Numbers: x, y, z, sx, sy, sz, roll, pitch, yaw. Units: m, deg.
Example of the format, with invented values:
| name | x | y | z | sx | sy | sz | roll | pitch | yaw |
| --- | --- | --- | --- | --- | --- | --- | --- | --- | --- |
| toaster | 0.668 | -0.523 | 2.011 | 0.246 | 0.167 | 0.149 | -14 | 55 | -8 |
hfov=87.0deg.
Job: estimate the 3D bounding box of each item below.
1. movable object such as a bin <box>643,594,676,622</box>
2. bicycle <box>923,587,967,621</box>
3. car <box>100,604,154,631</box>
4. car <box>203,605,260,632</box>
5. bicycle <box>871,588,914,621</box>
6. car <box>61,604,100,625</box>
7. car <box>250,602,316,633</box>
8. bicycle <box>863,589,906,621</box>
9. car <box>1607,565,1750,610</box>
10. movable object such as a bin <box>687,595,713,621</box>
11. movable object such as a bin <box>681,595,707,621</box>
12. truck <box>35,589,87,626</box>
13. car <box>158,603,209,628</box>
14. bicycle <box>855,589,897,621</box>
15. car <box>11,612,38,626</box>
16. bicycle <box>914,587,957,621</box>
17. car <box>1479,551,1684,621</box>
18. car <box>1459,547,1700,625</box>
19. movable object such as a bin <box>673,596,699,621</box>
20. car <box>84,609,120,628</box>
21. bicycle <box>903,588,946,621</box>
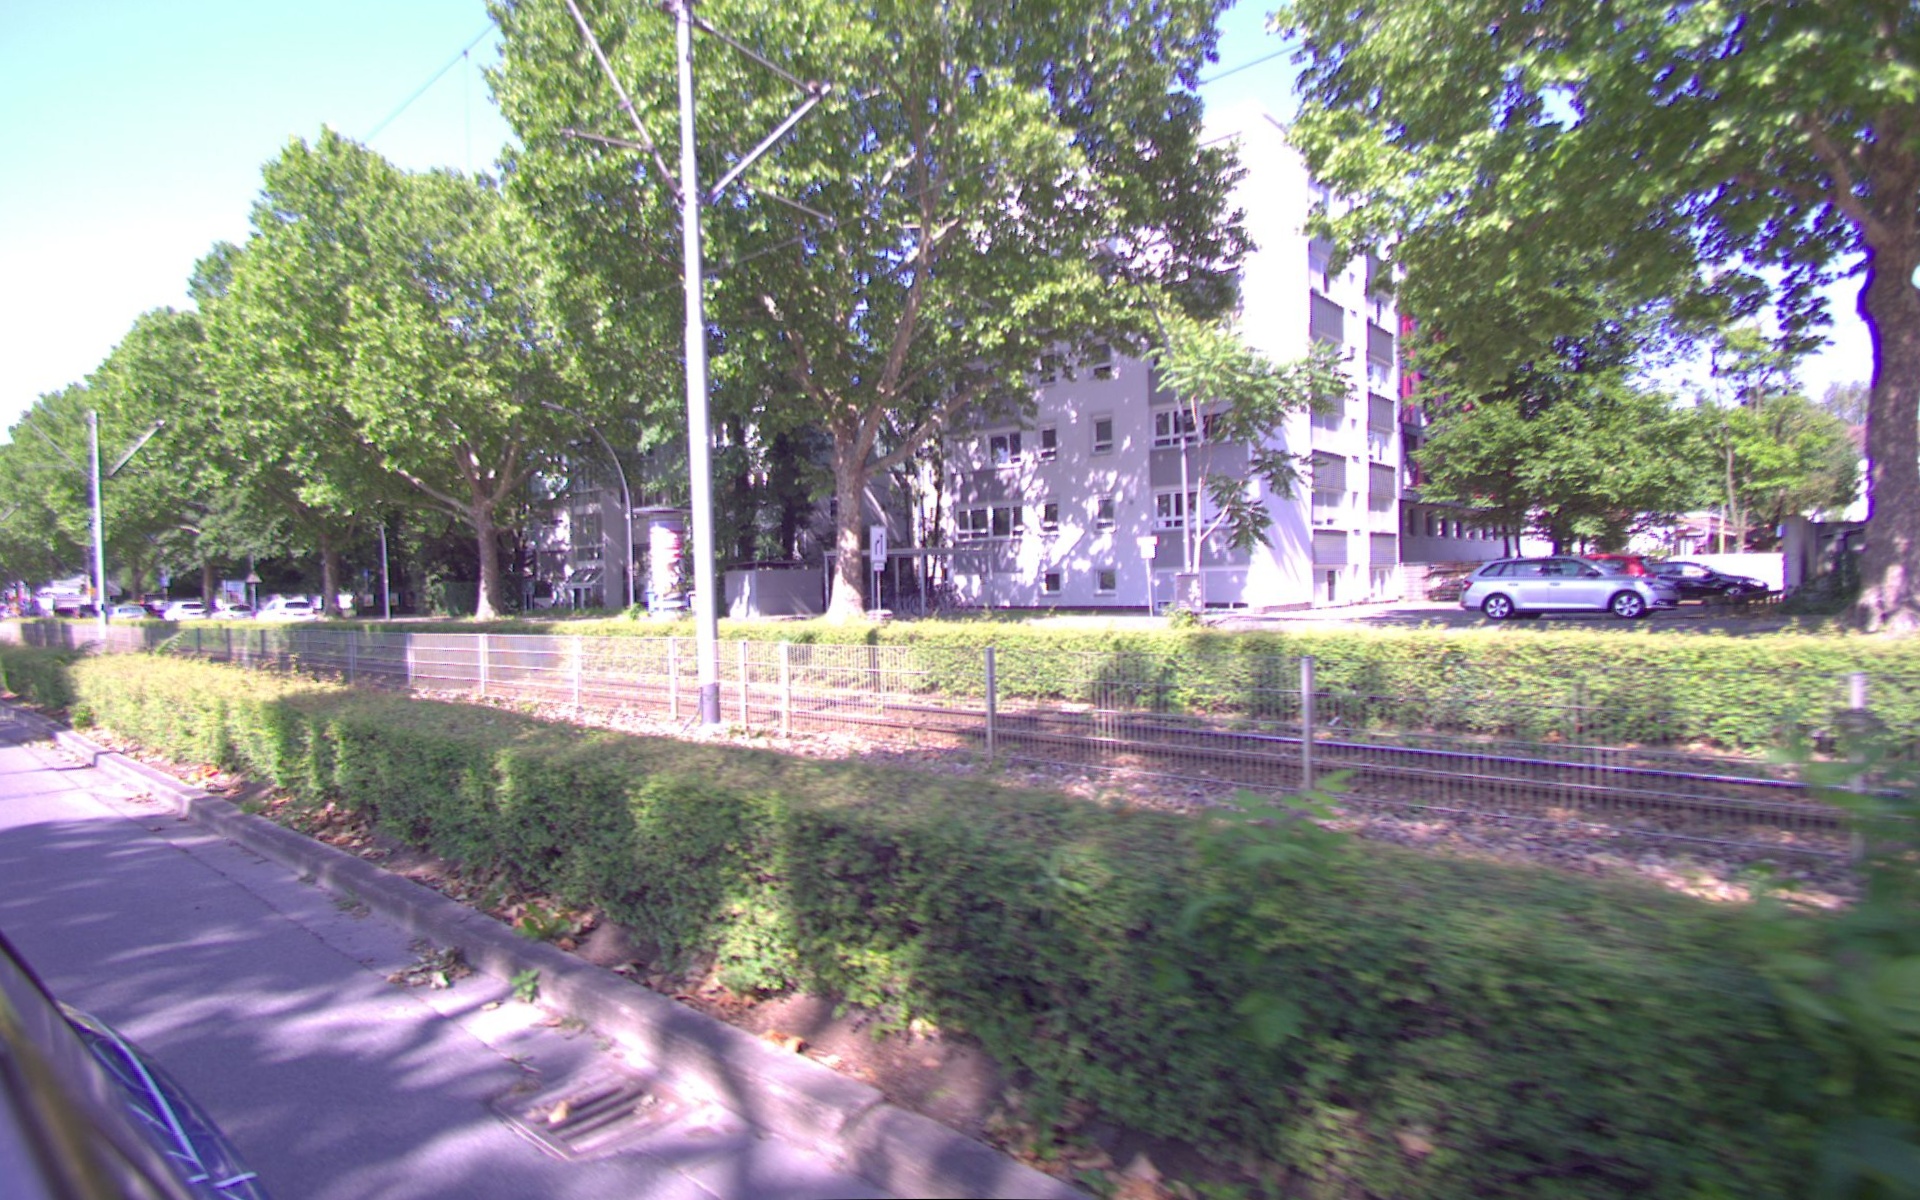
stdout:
| name | x | y | z | sx | sy | sz | roll | pitch | yaw |
| --- | --- | --- | --- | --- | --- | --- | --- | --- | --- |
| movable object such as a bin | -13.088 | 0.344 | 44.046 | 1.098 | 1.197 | 0.887 | -1 | 1 | 41 |
| bicycle | -0.509 | 0.135 | 35.091 | 0.421 | 1.111 | 1.748 | -1 | 1 | 40 |
| car | -49.863 | 1.059 | 60.545 | 3.998 | 1.464 | 1.837 | -1 | 1 | 41 |
| car | -42.762 | 1.084 | 59.373 | 3.998 | 1.464 | 1.833 | -1 | 1 | 41 |
| bicycle | -2.418 | 0.168 | 36.558 | 0.421 | 1.111 | 1.748 | -1 | 1 | 40 |
| car | -68.161 | 1.146 | 78.415 | 3.890 | 1.424 | 1.680 | -1 | 3 | 41 |
| car | -33.952 | 0.865 | 50.711 | 3.910 | 1.502 | 1.796 | -1 | -1 | 41 |
| bicycle | -2.744 | 0.173 | 36.851 | 0.421 | 1.111 | 1.748 | -1 | 1 | 40 |
| car | 23.877 | -0.408 | 33.690 | 3.751 | 1.364 | 1.627 | -1 | 1 | 41 |
| movable object such as a bin | -10.762 | 0.343 | 41.921 | 0.545 | 1.044 | 0.887 | -1 | 1 | 40 |
| movable object such as a bin | -11.136 | 0.348 | 42.338 | 0.545 | 1.044 | 0.887 | -1 | 1 | 40 |
| truck | -84.650 | 0.749 | 95.258 | 6.537 | 3.303 | 2.717 | -1 | 1 | 41 |
| car | -50.683 | 1.011 | 66.057 | 3.998 | 1.464 | 1.837 | -1 | 1 | 41 |
| bicycle | -3.071 | 0.178 | 37.180 | 0.421 | 1.111 | 1.748 | -1 | 1 | 40 |
| car | -102.801 | 2.059 | 111.233 | 3.863 | 1.464 | 1.730 | -1 | 1 | 41 |
| bicycle | -0.856 | 0.141 | 35.398 | 0.421 | 1.111 | 1.748 | -1 | 1 | 40 |
| car | 15.041 | -0.308 | 24.596 | 3.998 | 1.561 | 1.724 | -1 | 1 | 41 |
| car | 13.686 | -0.279 | 22.499 | 4.346 | 1.561 | 1.724 | -1 | 1 | 41 |
| movable object such as a bin | -11.555 | 0.354 | 42.717 | 0.545 | 1.044 | 0.887 | -1 | 1 | 40 |
| car | -73.406 | 1.595 | 86.597 | 3.863 | 1.464 | 1.730 | -1 | 1 | 41 |
| bicycle | -1.236 | 0.147 | 35.718 | 0.421 | 1.111 | 1.748 | -1 | 1 | 40 |
